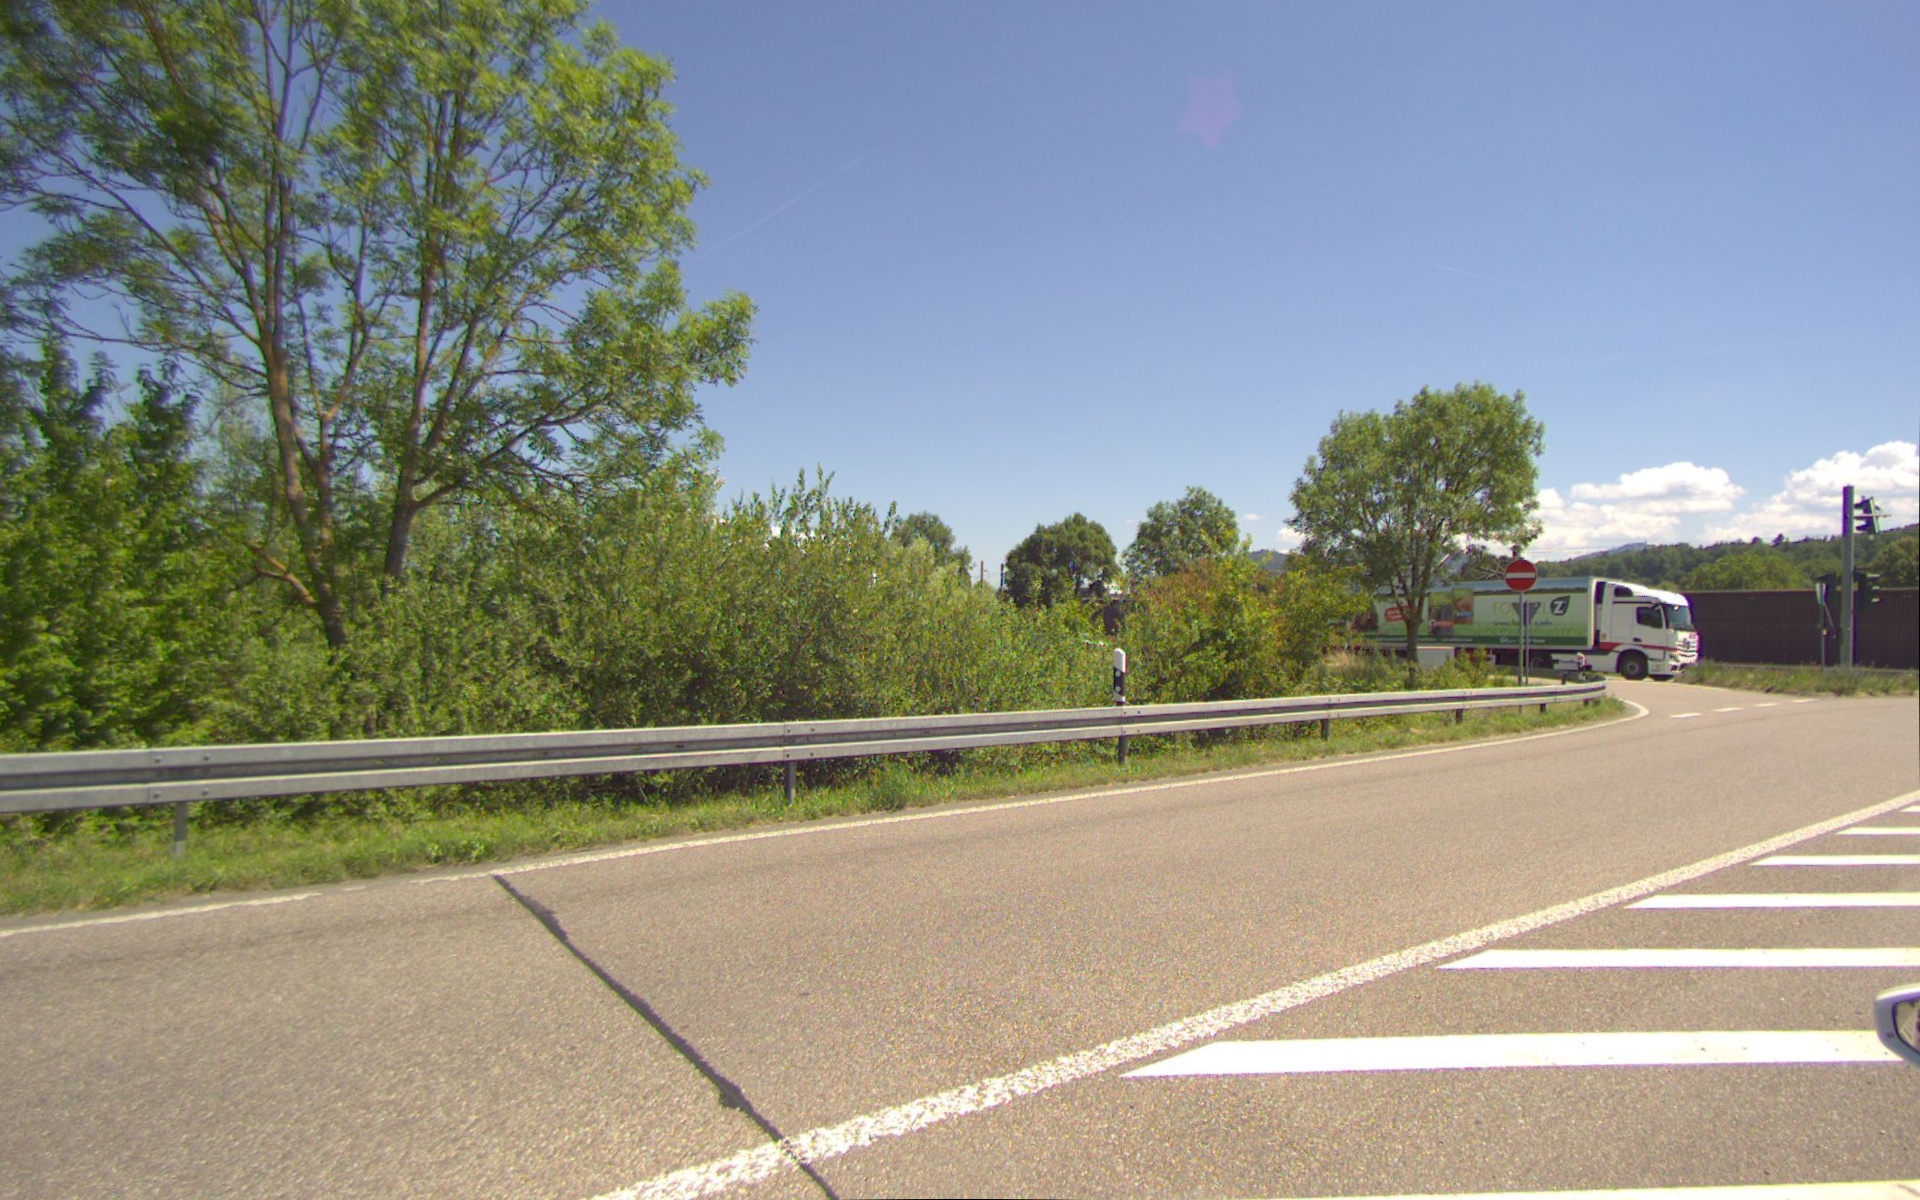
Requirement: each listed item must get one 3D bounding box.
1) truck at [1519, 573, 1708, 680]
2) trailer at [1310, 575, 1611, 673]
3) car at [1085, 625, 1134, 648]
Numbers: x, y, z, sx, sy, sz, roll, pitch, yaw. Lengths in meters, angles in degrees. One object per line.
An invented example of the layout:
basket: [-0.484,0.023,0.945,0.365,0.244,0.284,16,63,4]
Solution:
truck: [26.512,1.039,40.993,3.027,4.007,5.736,2,-1,-31]
trailer: [22.816,1.046,47.226,3.027,4.007,13.074,2,-1,-31]
car: [10.352,2.521,69.708,1.537,1.484,3.455,2,-1,-31]
